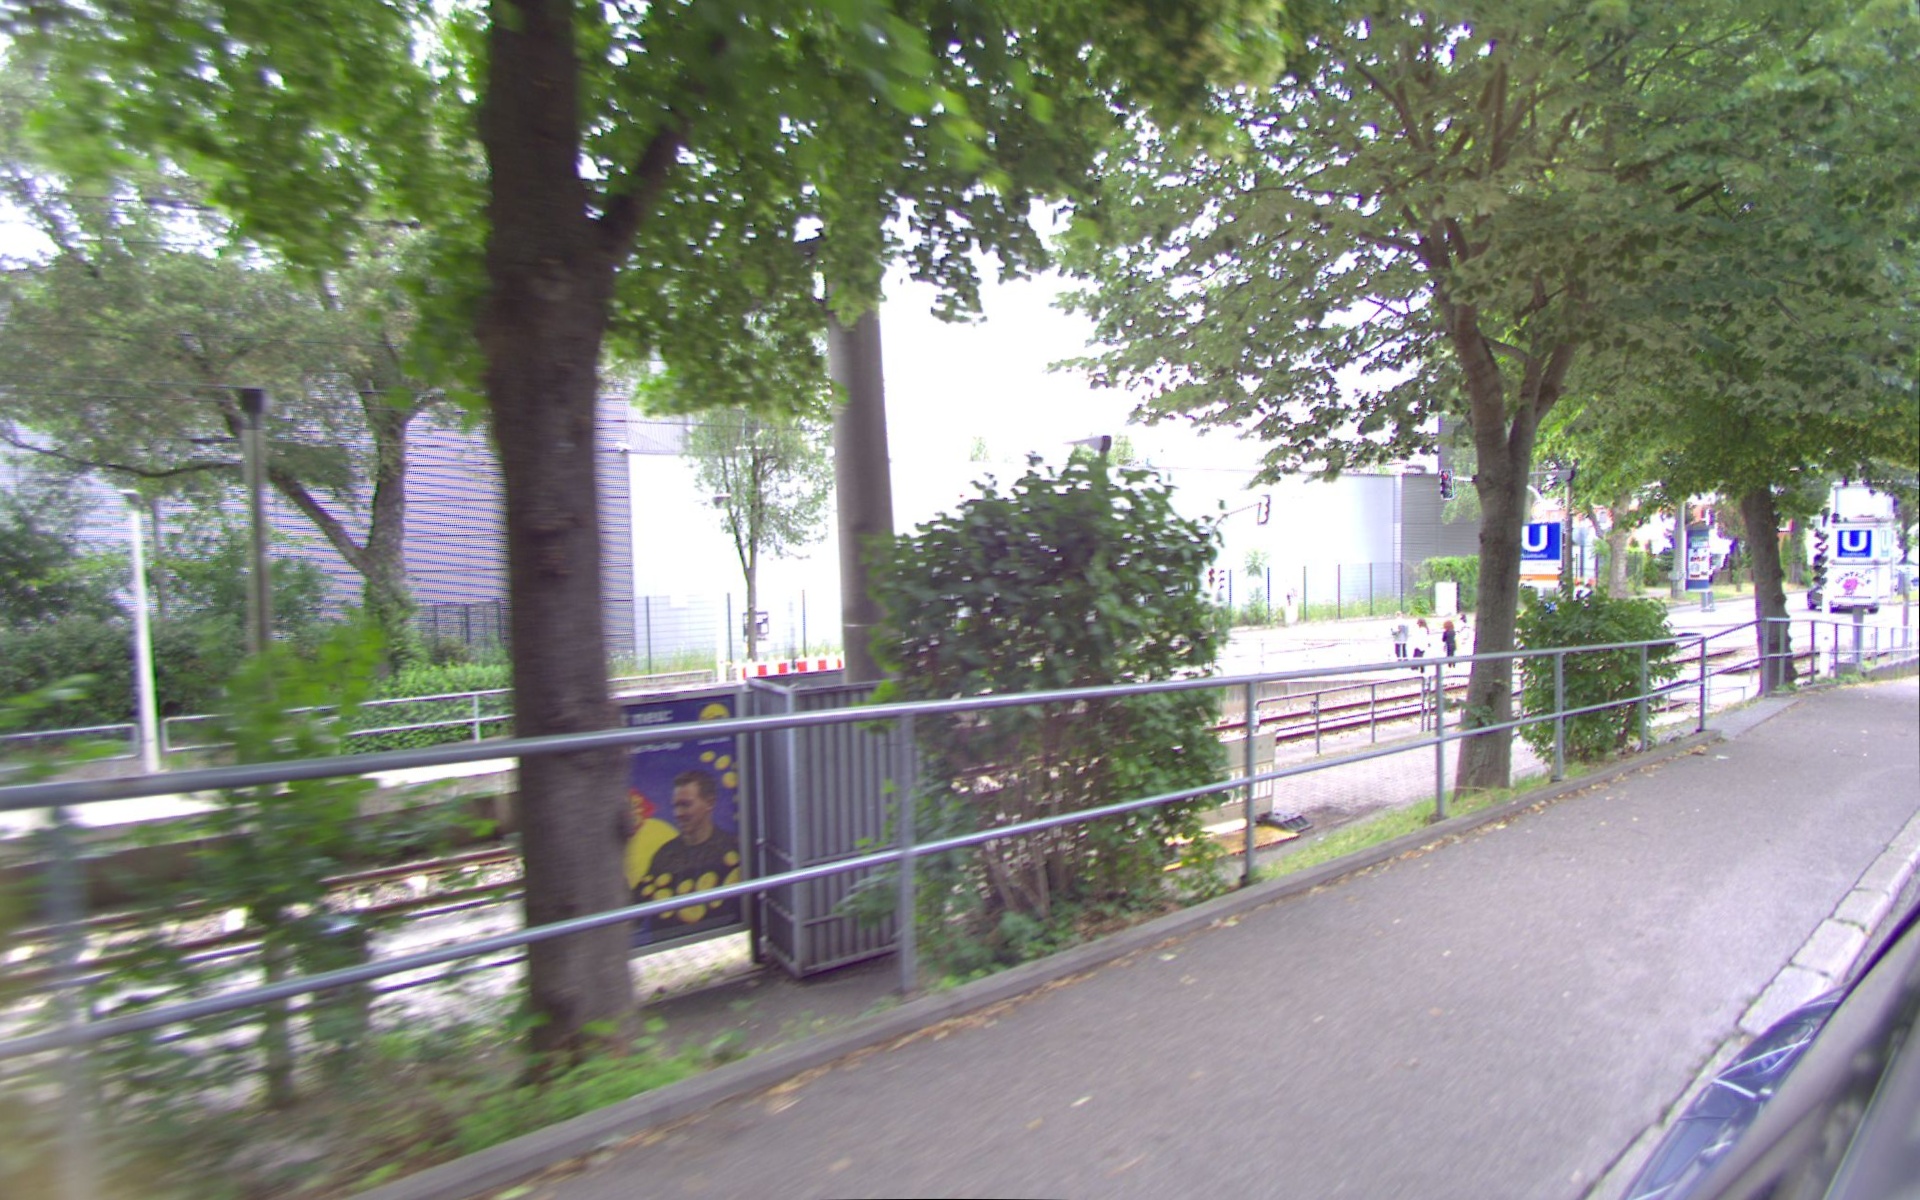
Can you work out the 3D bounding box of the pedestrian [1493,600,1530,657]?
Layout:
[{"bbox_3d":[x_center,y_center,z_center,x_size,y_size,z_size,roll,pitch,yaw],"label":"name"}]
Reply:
[{"bbox_3d":[16.940,0.862,31.095,0.669,1.697,0.755,0,1,-29],"label":"pedestrian"}]

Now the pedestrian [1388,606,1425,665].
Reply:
[{"bbox_3d":[13.340,1.051,30.214,0.669,1.697,0.755,0,1,-29],"label":"pedestrian"}]

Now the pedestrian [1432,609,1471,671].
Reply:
[{"bbox_3d":[14.078,1.131,28.966,0.669,1.697,0.755,0,1,-29],"label":"pedestrian"}]

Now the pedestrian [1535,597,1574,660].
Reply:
[{"bbox_3d":[17.567,0.823,29.891,0.669,1.826,0.755,0,1,-29],"label":"pedestrian"}]

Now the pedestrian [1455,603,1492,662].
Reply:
[{"bbox_3d":[15.391,0.964,30.324,0.669,1.697,0.755,0,1,-29],"label":"pedestrian"}]

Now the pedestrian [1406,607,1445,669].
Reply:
[{"bbox_3d":[13.128,1.061,28.559,0.669,1.697,0.755,0,1,-29],"label":"pedestrian"}]
